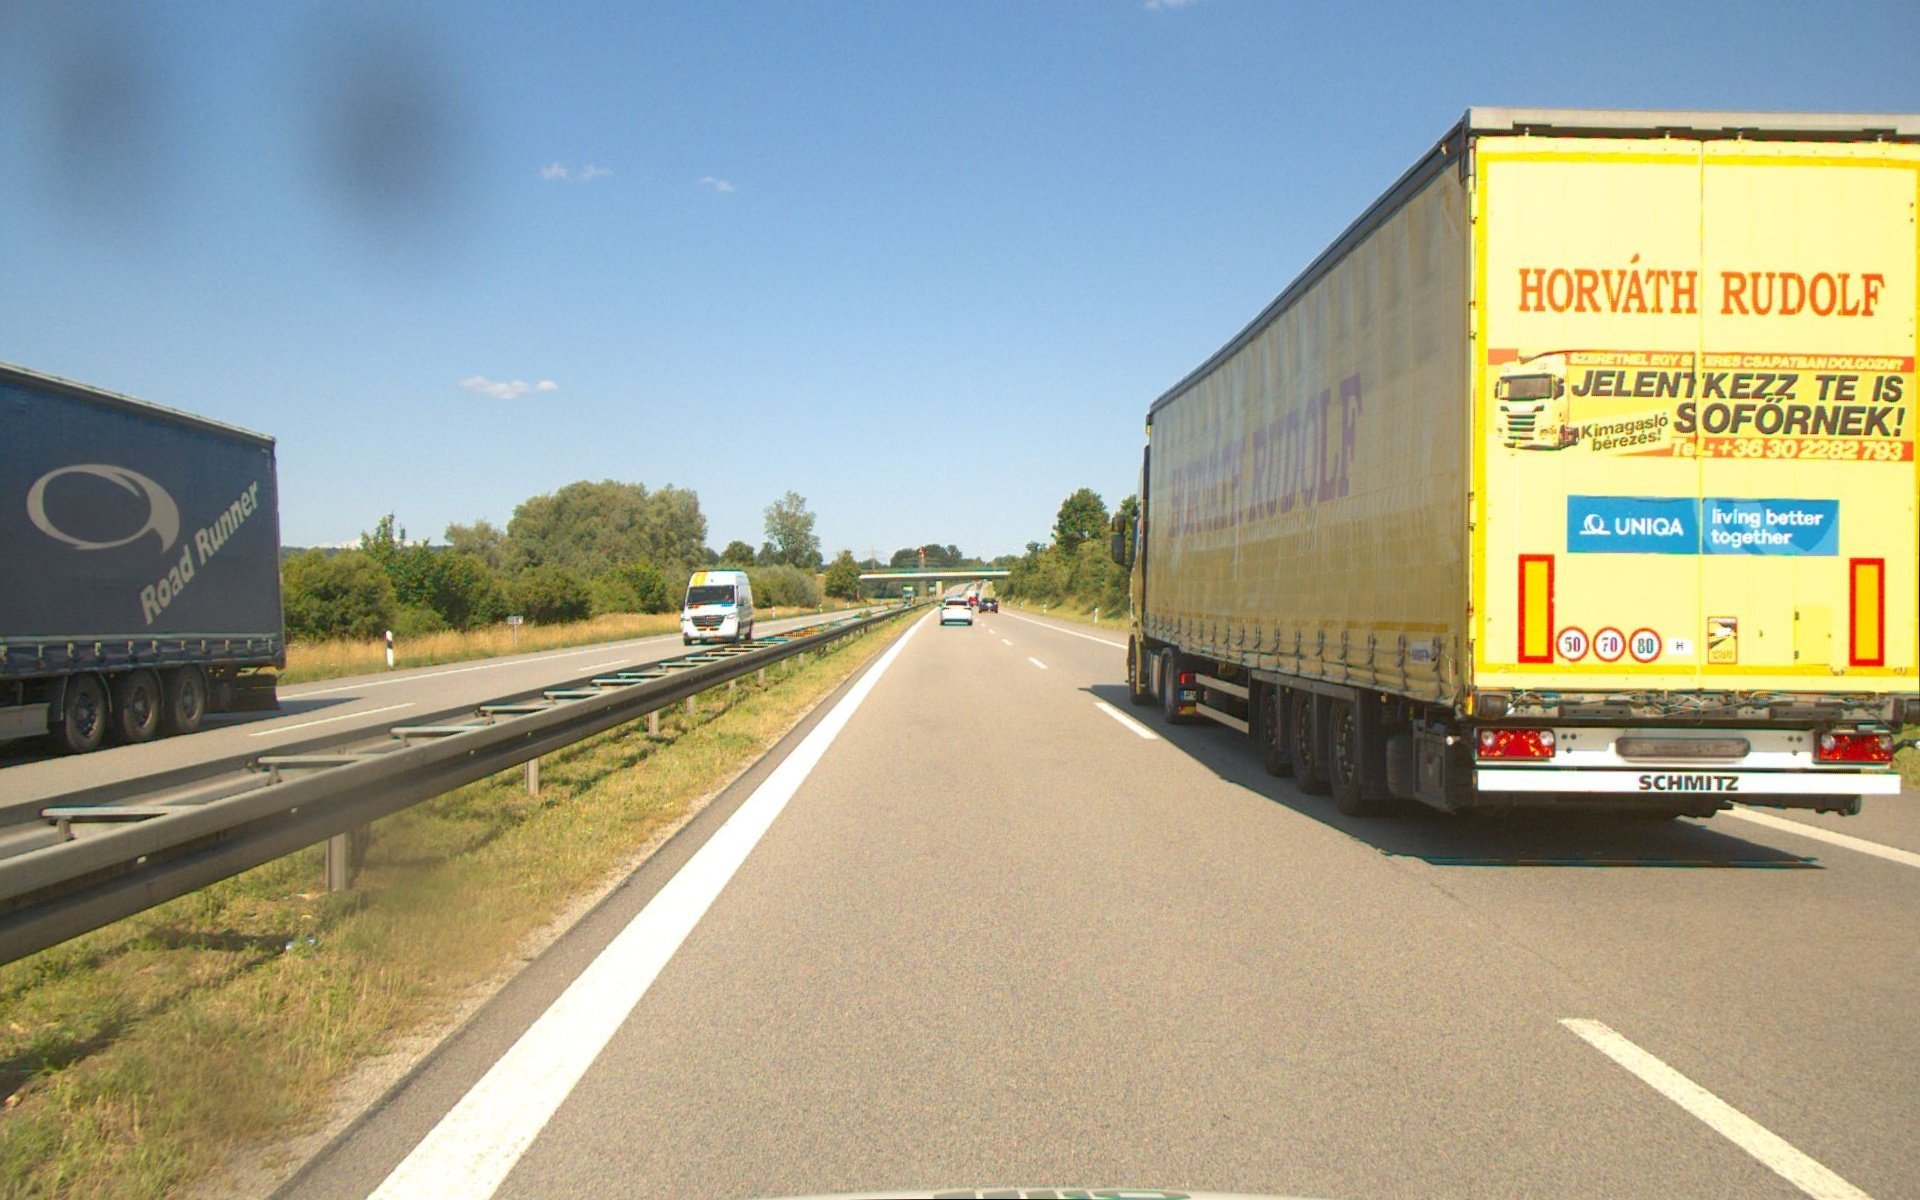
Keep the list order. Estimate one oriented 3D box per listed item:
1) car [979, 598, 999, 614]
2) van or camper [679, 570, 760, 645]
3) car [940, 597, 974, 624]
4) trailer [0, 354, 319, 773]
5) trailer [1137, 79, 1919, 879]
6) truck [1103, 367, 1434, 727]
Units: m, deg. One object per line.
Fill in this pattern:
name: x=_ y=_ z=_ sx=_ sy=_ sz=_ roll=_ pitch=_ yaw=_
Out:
car: x=2.786 y=0.566 z=160.919 sx=1.805 sy=1.546 sz=4.000 roll=1 pitch=0 yaw=0
van or camper: x=-8.806 y=0.267 z=61.129 sx=1.953 sy=2.540 sz=7.226 roll=-2 pitch=0 yaw=-1
car: x=-0.150 y=0.556 z=90.546 sx=1.805 sy=1.440 sz=4.000 roll=1 pitch=0 yaw=0
trailer: x=-11.047 y=-0.292 z=17.560 sx=3.121 sy=4.130 sz=14.591 roll=-3 pitch=0 yaw=-2
trailer: x=4.012 y=-0.607 z=15.227 sx=3.120 sy=4.130 sz=13.184 roll=1 pitch=0 yaw=-1
truck: x=3.908 y=-0.610 z=22.627 sx=3.105 sy=4.186 sz=6.386 roll=1 pitch=0 yaw=-2
